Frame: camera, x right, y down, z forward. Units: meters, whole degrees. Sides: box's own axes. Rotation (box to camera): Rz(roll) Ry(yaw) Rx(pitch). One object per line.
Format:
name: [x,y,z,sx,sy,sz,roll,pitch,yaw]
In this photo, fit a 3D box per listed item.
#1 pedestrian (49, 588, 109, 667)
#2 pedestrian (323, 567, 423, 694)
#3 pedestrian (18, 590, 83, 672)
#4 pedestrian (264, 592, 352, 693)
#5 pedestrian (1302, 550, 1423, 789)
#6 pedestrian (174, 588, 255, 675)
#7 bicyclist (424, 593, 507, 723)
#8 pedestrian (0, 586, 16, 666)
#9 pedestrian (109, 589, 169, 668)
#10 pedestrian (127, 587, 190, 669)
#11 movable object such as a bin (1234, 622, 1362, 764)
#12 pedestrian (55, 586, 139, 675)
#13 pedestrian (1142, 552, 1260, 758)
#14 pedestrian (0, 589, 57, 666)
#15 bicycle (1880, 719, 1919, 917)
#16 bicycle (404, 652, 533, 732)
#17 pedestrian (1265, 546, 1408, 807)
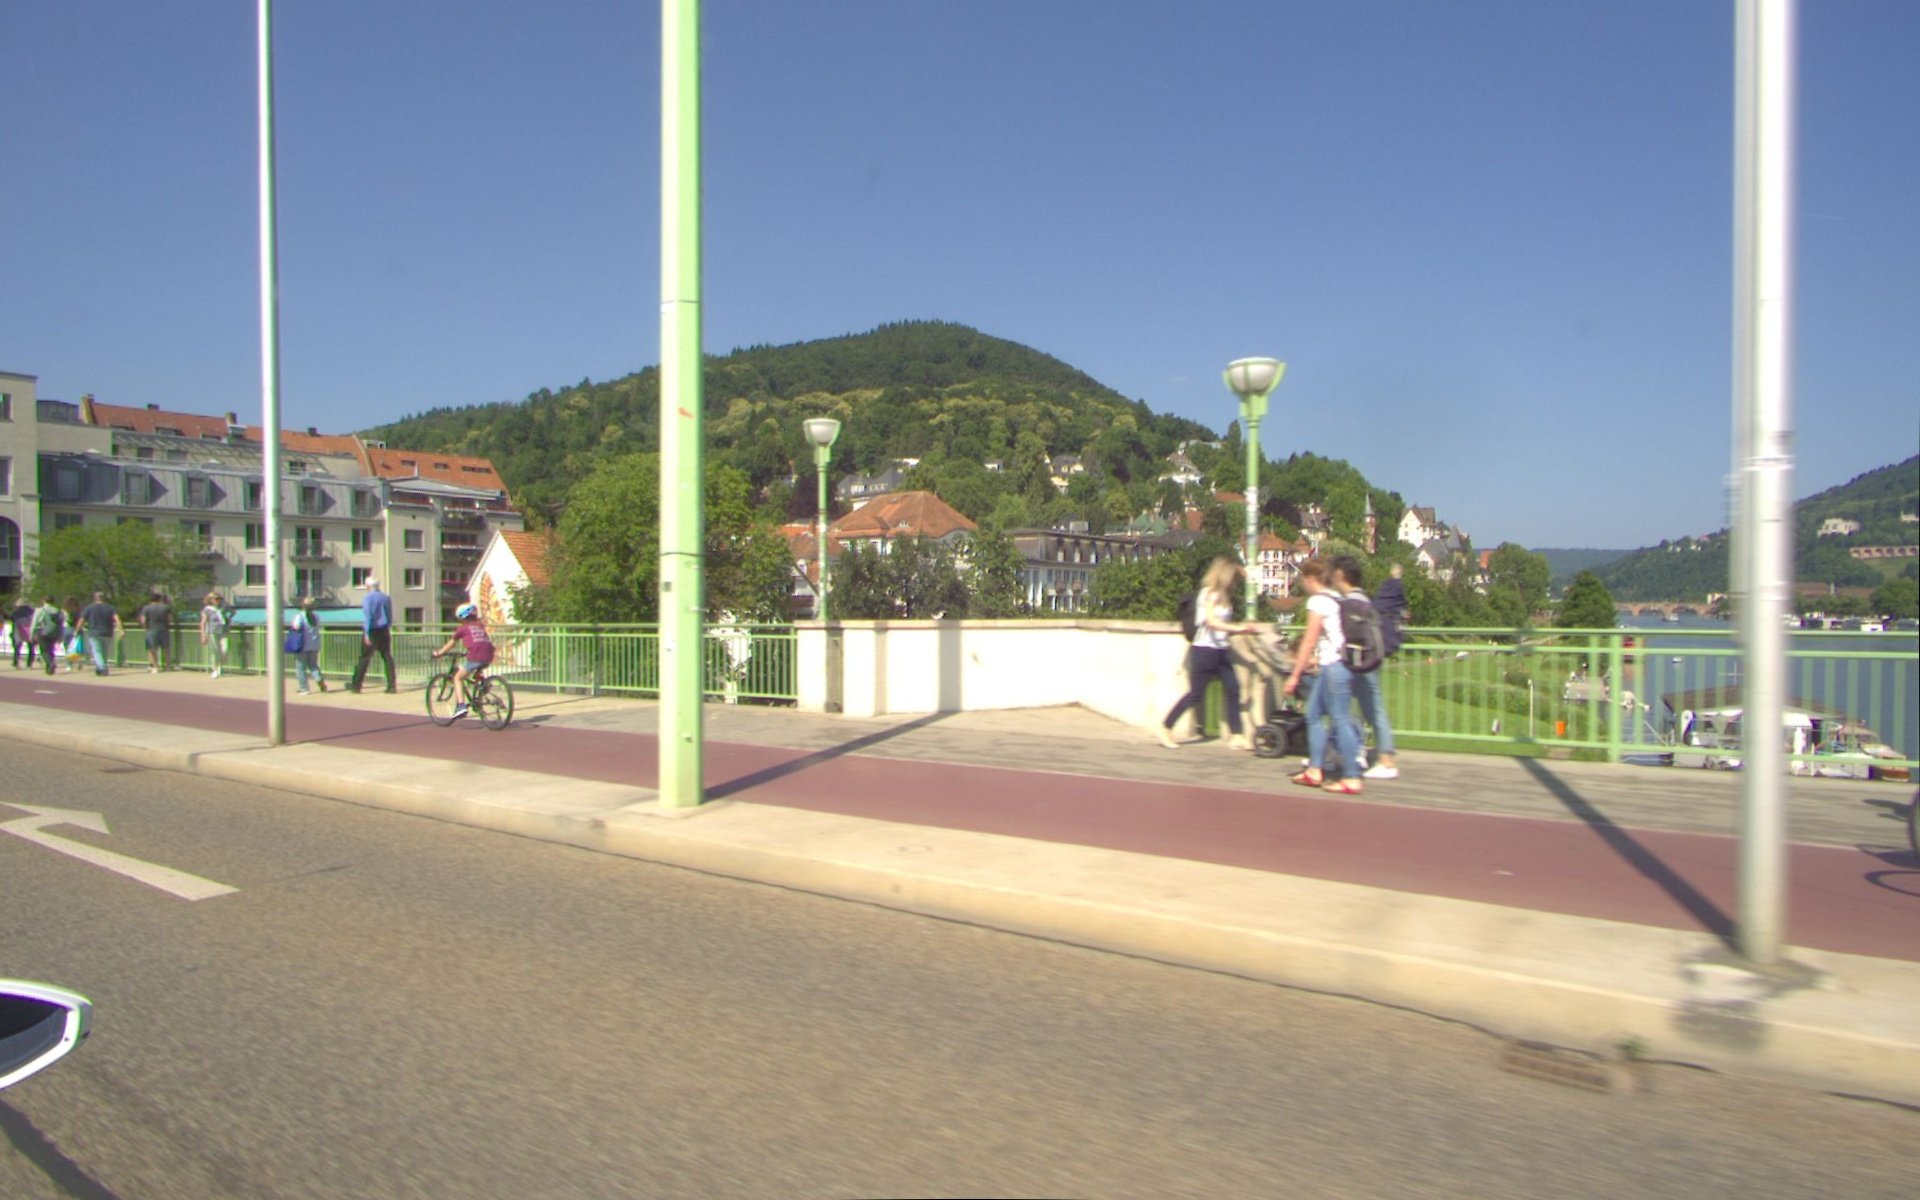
pedestrian: [-20.477,0.623,23.284,1.001,1.770,0.737,0,2,32]
pedestrian: [-9.272,0.460,15.823,1.121,1.923,0.923,0,1,32]
pedestrian: [-19.881,0.659,21.894,1.058,1.741,0.752,0,2,32]
pedestrian: [-10.446,0.656,16.053,0.919,1.550,0.827,0,2,32]
pedestrian: [3.034,0.491,7.531,0.735,1.681,0.665,0,1,32]
pedestrian: [-15.007,0.613,20.174,1.067,1.685,0.945,0,2,32]
bicyclist: [-5.514,0.626,11.176,0.659,1.402,0.532,0,2,33]
pedestrian: [-22.609,0.608,23.243,1.001,1.827,0.737,0,2,32]
pedestrian: [-18.489,0.628,22.553,1.001,1.741,0.737,0,1,32]
pedestrian: [-17.616,0.594,22.003,1.001,1.742,0.737,0,2,32]
movable object such as a bin: [2.843,0.751,8.425,0.920,1.105,0.580,0,1,32]
pedestrian: [-18.206,0.617,21.126,1.190,1.802,0.975,0,2,32]
pedestrian: [2.142,0.463,8.882,0.847,1.729,0.661,0,1,32]
pedestrian: [-22.293,0.639,23.960,1.001,1.802,0.737,0,2,32]
bicycle: [4.972,0.941,3.982,1.839,0.776,0.592,0,1,30]
bicycle: [-5.511,1.001,11.198,1.637,0.776,0.512,0,2,33]
pedestrian: [2.620,0.493,6.950,0.813,1.681,0.661,0,1,32]
